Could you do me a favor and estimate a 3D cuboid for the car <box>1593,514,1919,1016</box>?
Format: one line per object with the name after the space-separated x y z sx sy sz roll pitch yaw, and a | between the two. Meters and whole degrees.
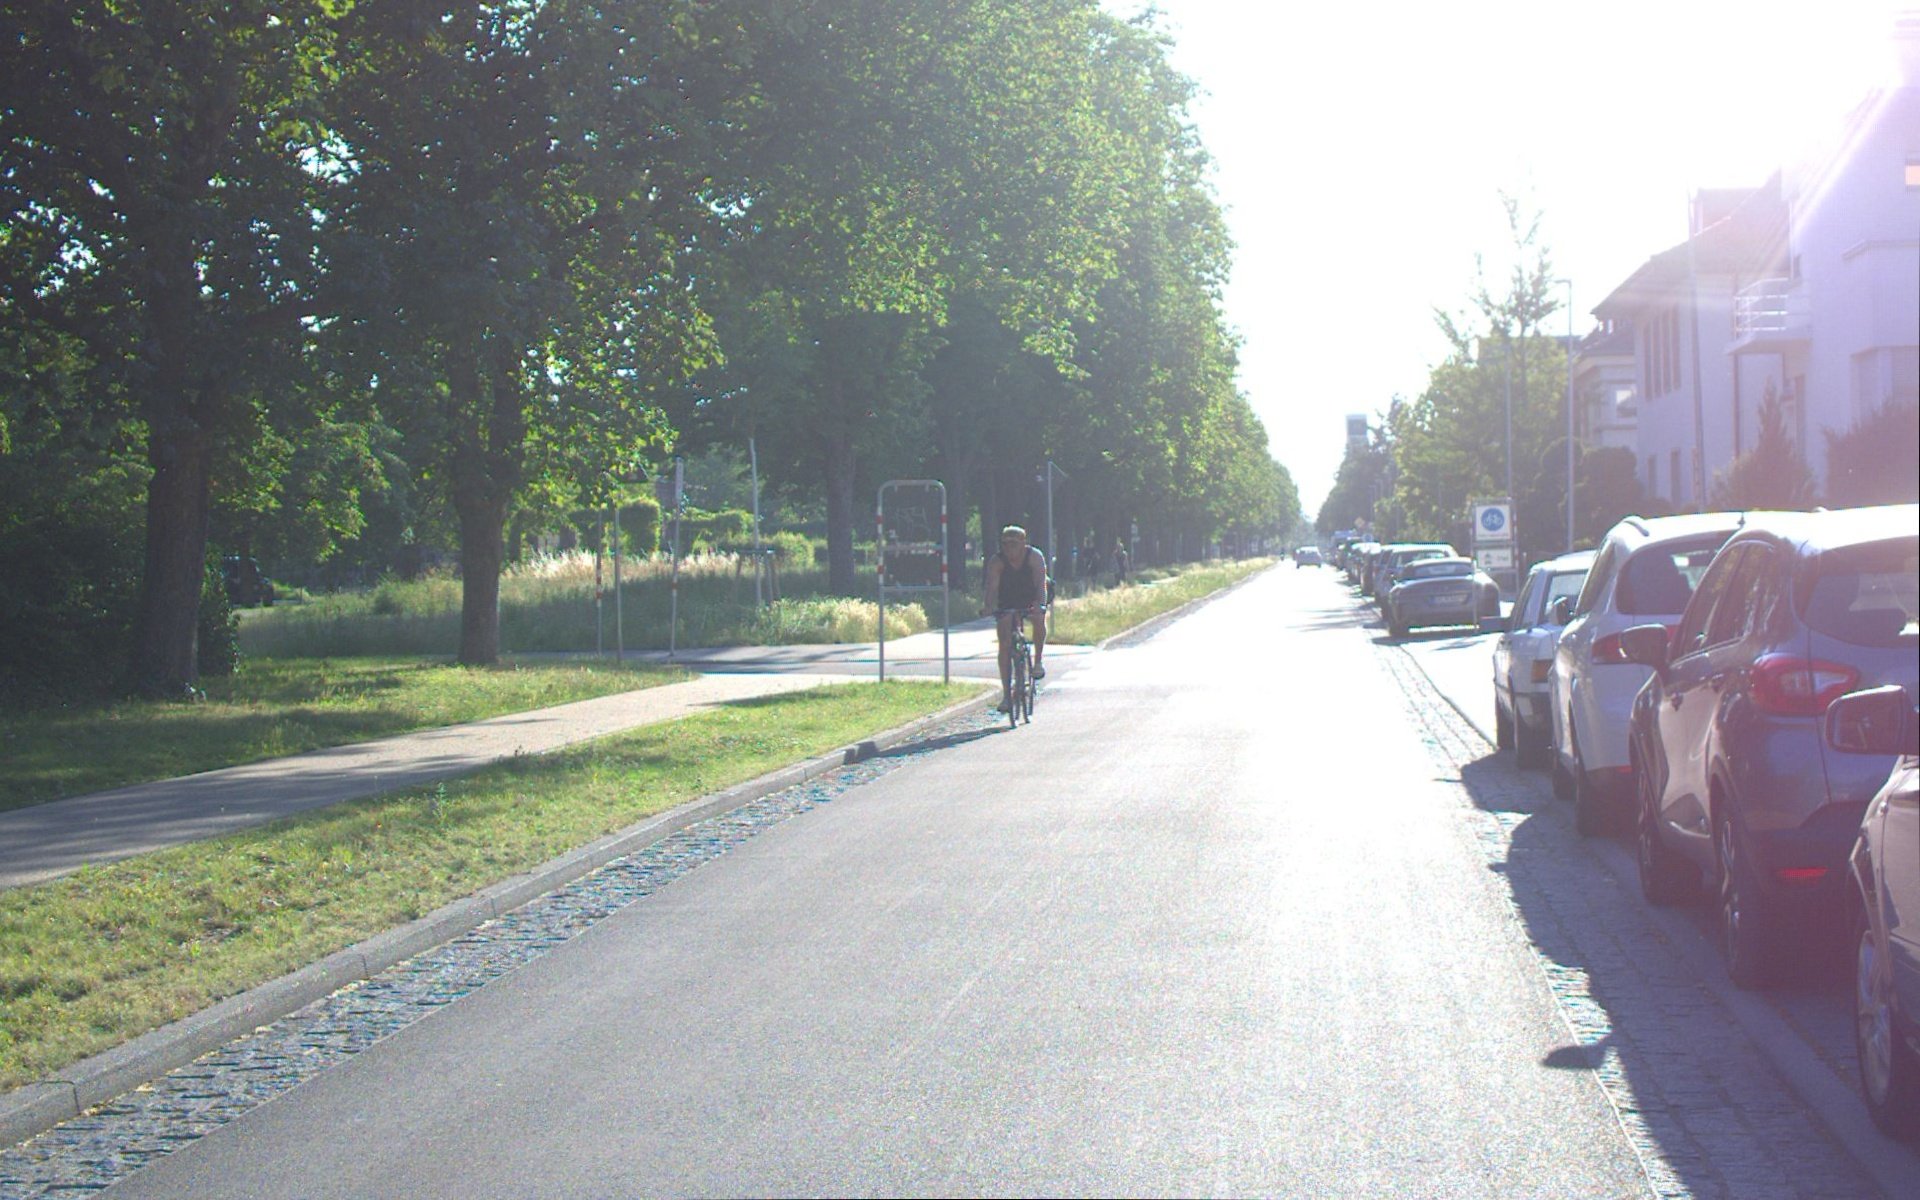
3.416 0.466 12.778 1.679 1.550 4.144 -2 1 6 | car

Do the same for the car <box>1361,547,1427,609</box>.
11.544 -0.596 91.600 1.628 1.499 3.632 -3 1 7 | car

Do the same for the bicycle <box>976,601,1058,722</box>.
0.524 0.539 30.907 0.556 1.028 1.914 -2 0 6 | bicycle

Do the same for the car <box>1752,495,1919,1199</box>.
2.841 0.541 7.074 1.710 1.605 4.168 -3 1 5 | car

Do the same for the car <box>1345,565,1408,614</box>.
13.059 -0.330 107.871 1.737 1.444 4.196 -2 0 5 | car

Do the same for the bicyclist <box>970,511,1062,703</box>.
0.511 0.062 30.853 0.681 1.667 1.172 -2 0 6 | bicyclist

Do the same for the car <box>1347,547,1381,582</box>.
18.754 -1.651 159.448 1.498 1.561 3.266 -1 1 7 | car

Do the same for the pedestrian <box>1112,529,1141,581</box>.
5.214 -1.416 107.589 0.783 1.609 0.951 -1 1 10 | pedestrian

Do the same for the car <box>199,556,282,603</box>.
-25.521 -0.740 122.034 1.693 1.592 4.221 -1 1 5 | car

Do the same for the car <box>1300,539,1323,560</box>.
25.276 -3.620 247.317 1.652 1.536 3.266 0 1 6 | car

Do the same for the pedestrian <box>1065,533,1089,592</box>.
3.664 -1.184 107.552 0.624 1.824 0.886 -1 1 10 | pedestrian

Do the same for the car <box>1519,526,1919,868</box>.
3.925 0.429 18.240 1.679 1.550 4.129 -2 1 7 | car

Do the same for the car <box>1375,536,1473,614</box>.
9.641 -0.534 71.675 1.744 1.469 3.921 -4 1 5 | car

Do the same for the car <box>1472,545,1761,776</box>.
4.431 0.348 23.701 1.564 1.385 4.373 -2 1 6 | car

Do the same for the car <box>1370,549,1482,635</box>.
8.165 -0.165 60.506 1.775 1.284 4.271 -4 1 7 | car
